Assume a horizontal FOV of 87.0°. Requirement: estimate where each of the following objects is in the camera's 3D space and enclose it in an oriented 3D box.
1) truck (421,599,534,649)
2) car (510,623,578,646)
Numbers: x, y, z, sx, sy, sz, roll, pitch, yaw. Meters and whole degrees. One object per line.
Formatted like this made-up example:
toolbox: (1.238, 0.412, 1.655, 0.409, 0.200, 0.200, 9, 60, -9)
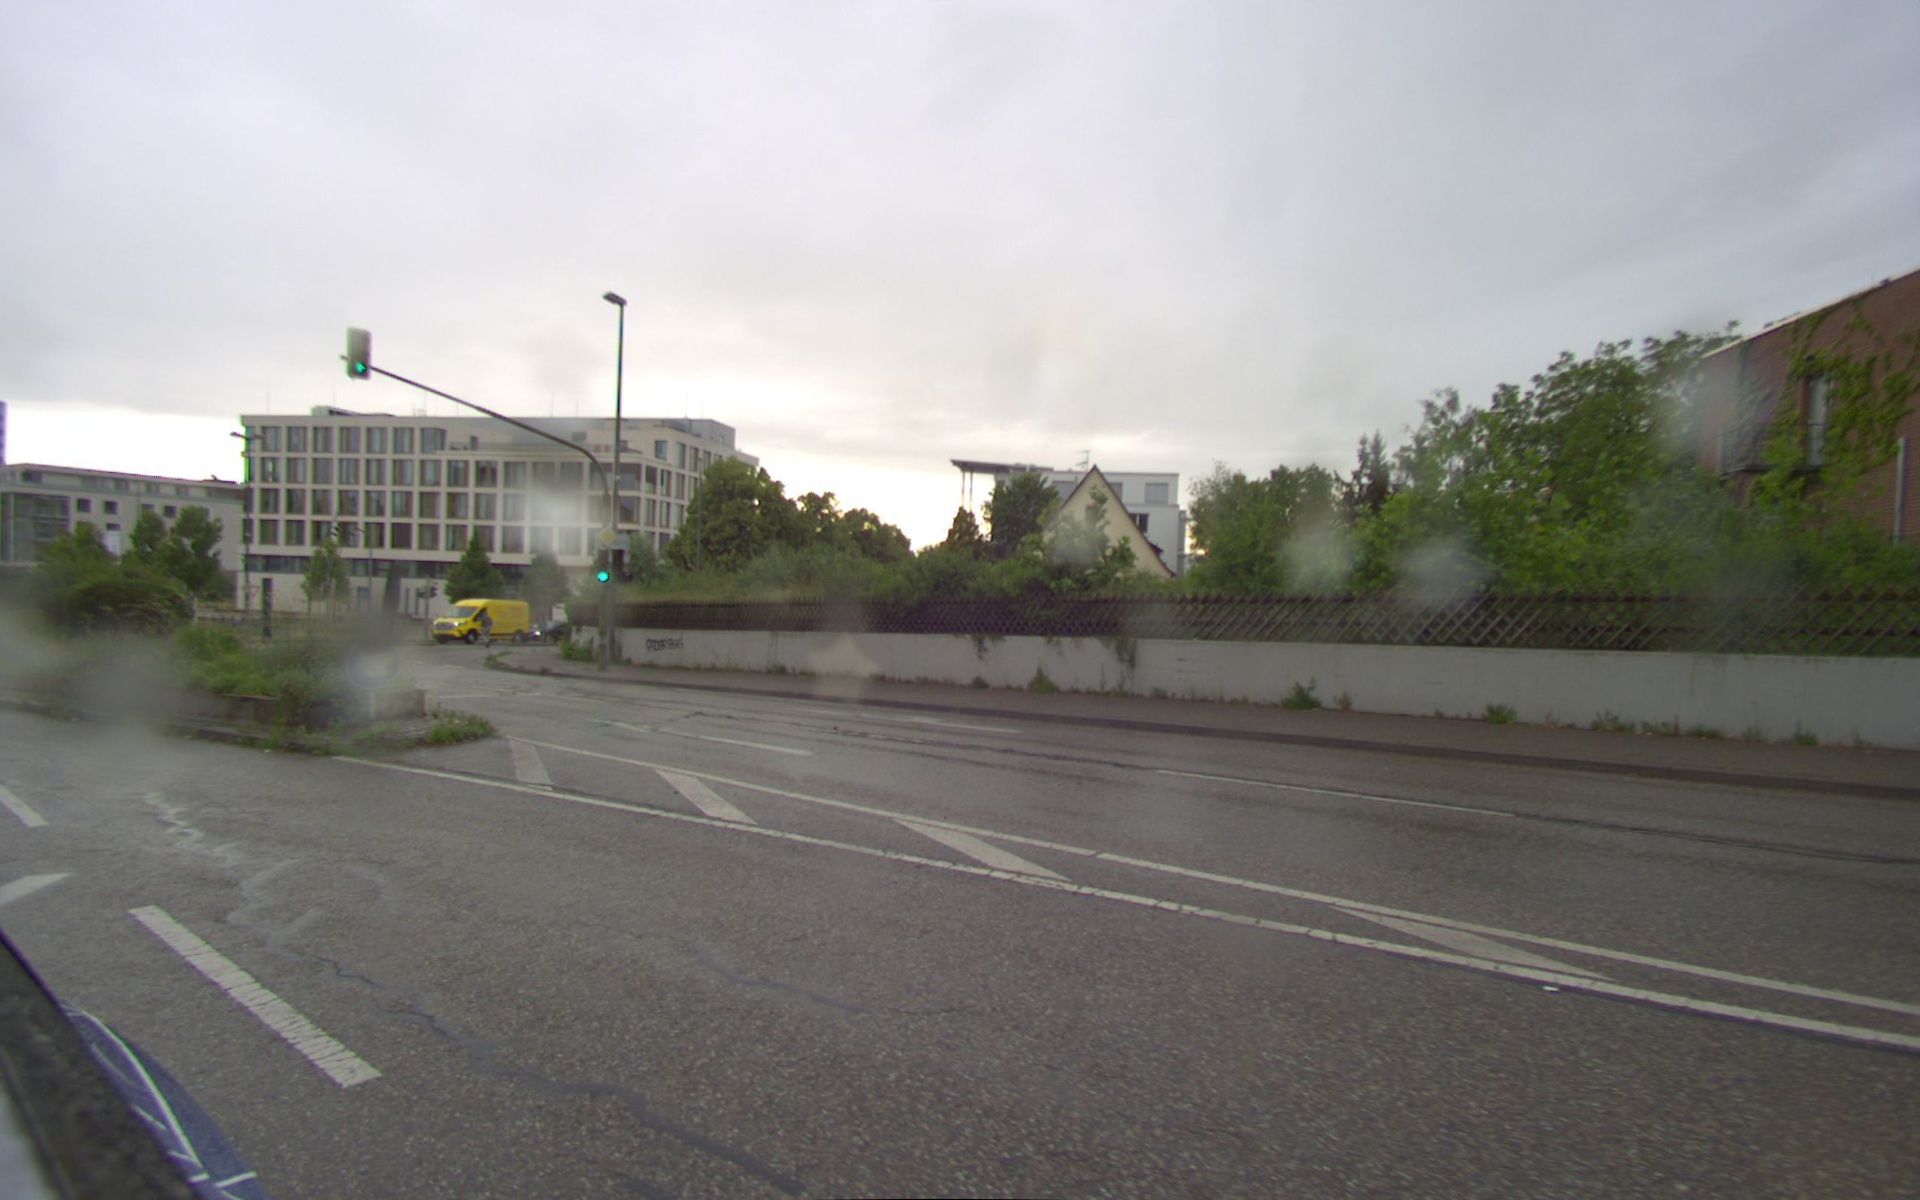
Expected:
truck: (-26.385, 1.343, 55.684, 2.207, 2.557, 6.148, 2, -2, 13)
car: (-25.652, 2.141, 62.562, 1.845, 1.327, 4.342, 2, -2, 10)
